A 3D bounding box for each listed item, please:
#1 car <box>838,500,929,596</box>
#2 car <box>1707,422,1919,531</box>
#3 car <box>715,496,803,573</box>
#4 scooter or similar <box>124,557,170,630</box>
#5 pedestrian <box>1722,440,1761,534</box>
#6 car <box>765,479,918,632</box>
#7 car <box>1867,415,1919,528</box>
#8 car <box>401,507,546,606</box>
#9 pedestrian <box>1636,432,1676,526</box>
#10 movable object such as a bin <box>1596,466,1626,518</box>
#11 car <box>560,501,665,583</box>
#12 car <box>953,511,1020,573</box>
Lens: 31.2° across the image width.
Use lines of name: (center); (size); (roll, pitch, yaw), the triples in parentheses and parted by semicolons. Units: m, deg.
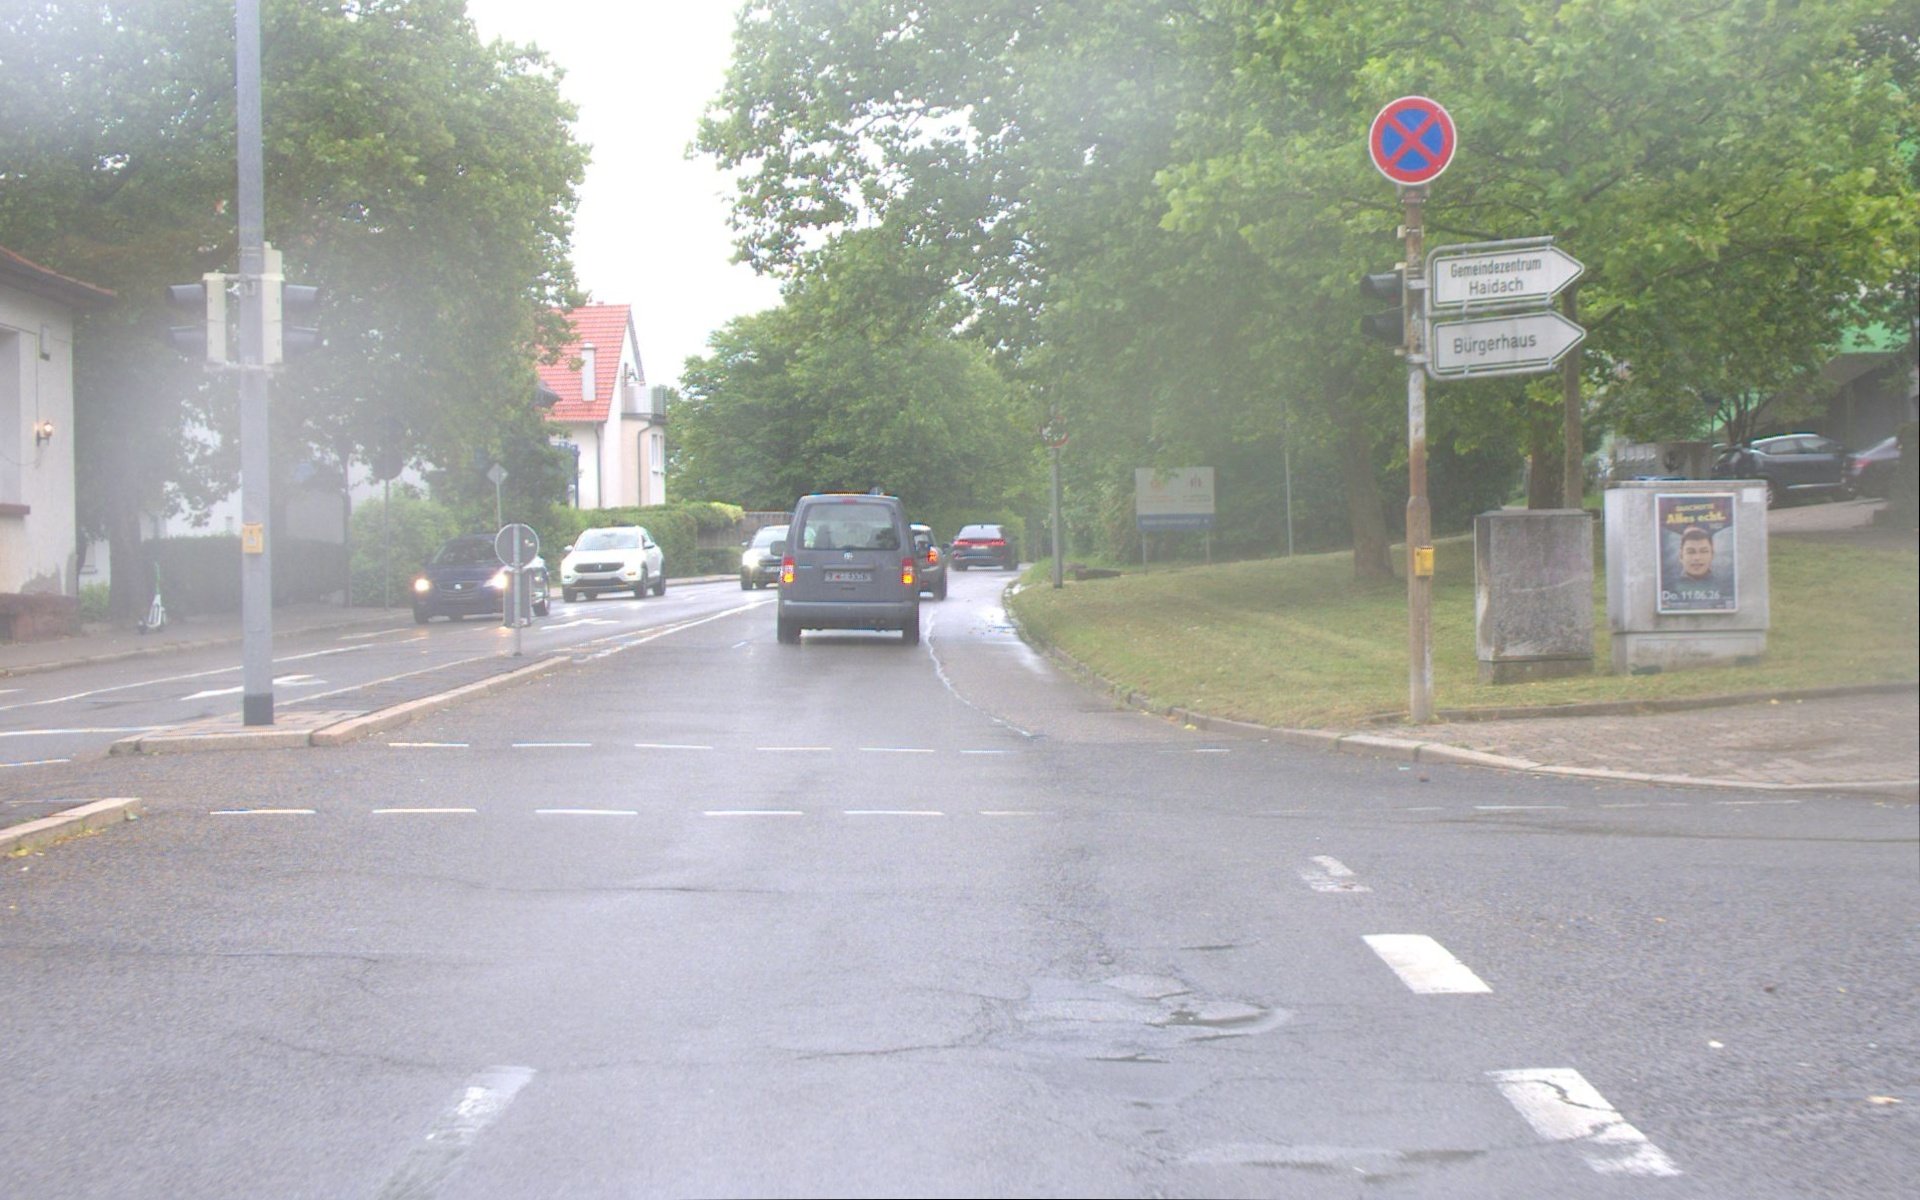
car: (-1.474, -1.017, 66.898); (1.705, 1.802, 3.685); (1, 1, -1)
car: (15.910, -2.281, 63.755); (3.989, 1.924, 1.999); (1, 1, 12)
car: (-4.580, -1.513, 78.763); (1.747, 1.666, 3.708); (-1, 2, 0)
scooter or similar: (-12.079, -0.105, 51.101); (0.389, 1.061, 1.410); (1, 1, -2)
pedestrian: (13.482, -1.946, 59.294); (0.601, 1.611, 0.525); (1, 1, 9)
car: (-1.447, -0.565, 43.127); (1.812, 1.802, 3.757); (1, 1, -1)
car: (16.997, -2.064, 56.260); (3.989, 1.809, 1.999); (1, 1, 11)
car: (-8.134, -0.757, 57.853); (1.793, 1.522, 4.209); (-1, 2, 0)
pedestrian: (13.037, -2.261, 64.397); (0.557, 1.757, 0.728); (1, 1, -2)
movable object such as a bin: (11.417, -1.898, 60.289); (0.450, 0.902, 0.462); (1, 1, 18)
car: (-7.552, -1.281, 74.994); (1.830, 1.666, 4.051); (-1, 2, 0)
car: (0.810, -1.814, 106.877); (1.993, 1.875, 4.000); (1, 1, 0)
